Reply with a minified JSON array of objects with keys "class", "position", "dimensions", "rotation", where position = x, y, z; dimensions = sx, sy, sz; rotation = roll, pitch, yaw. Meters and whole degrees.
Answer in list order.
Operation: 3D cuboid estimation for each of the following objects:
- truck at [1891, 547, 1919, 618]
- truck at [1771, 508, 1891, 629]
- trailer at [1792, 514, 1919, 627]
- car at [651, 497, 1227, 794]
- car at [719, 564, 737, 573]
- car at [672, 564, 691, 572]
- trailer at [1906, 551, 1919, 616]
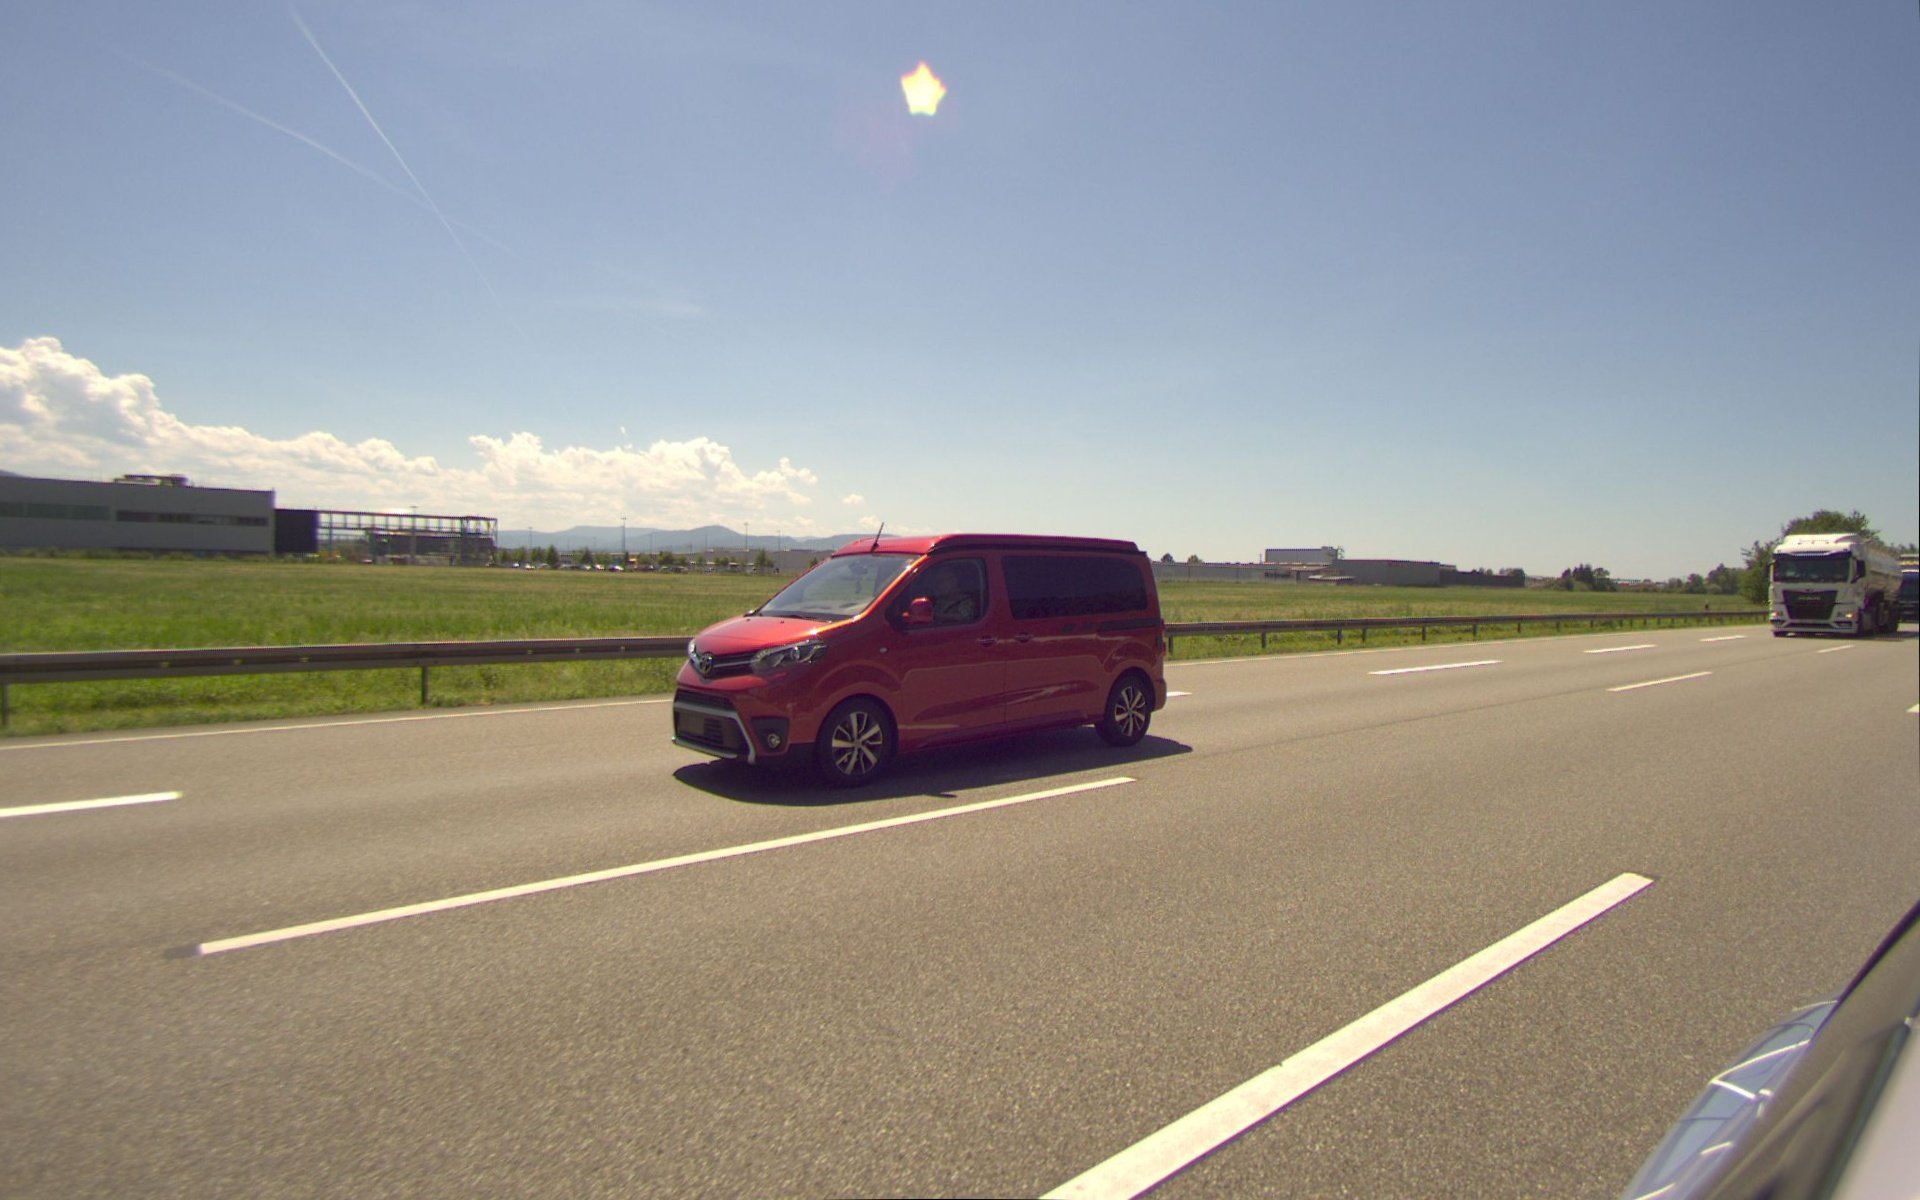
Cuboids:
[{"class":"truck","position":[60.991,-1.060,63.539],"dimensions":[10.622,4.257,2.794],"rotation":[0,1,-42]},{"class":"truck","position":[32.974,-1.145,38.265],"dimensions":[4.914,4.257,2.794],"rotation":[0,1,-42]},{"class":"trailer","position":[38.647,-1.169,43.342],"dimensions":[12.140,4.257,2.795],"rotation":[0,1,-42]},{"class":"car","position":[0.103,0.292,9.396],"dimensions":[5.425,2.028,1.859],"rotation":[0,0,-41]},{"class":"car","position":[-58.710,-7.953,256.319],"dimensions":[3.925,2.039,1.874],"rotation":[0,1,-37]},{"class":"car","position":[-68.678,-7.879,249.503],"dimensions":[3.925,2.039,1.874],"rotation":[0,1,-37]},{"class":"trailer","position":[67.331,-1.106,69.346],"dimensions":[10.622,4.257,2.794],"rotation":[0,1,-42]}]
